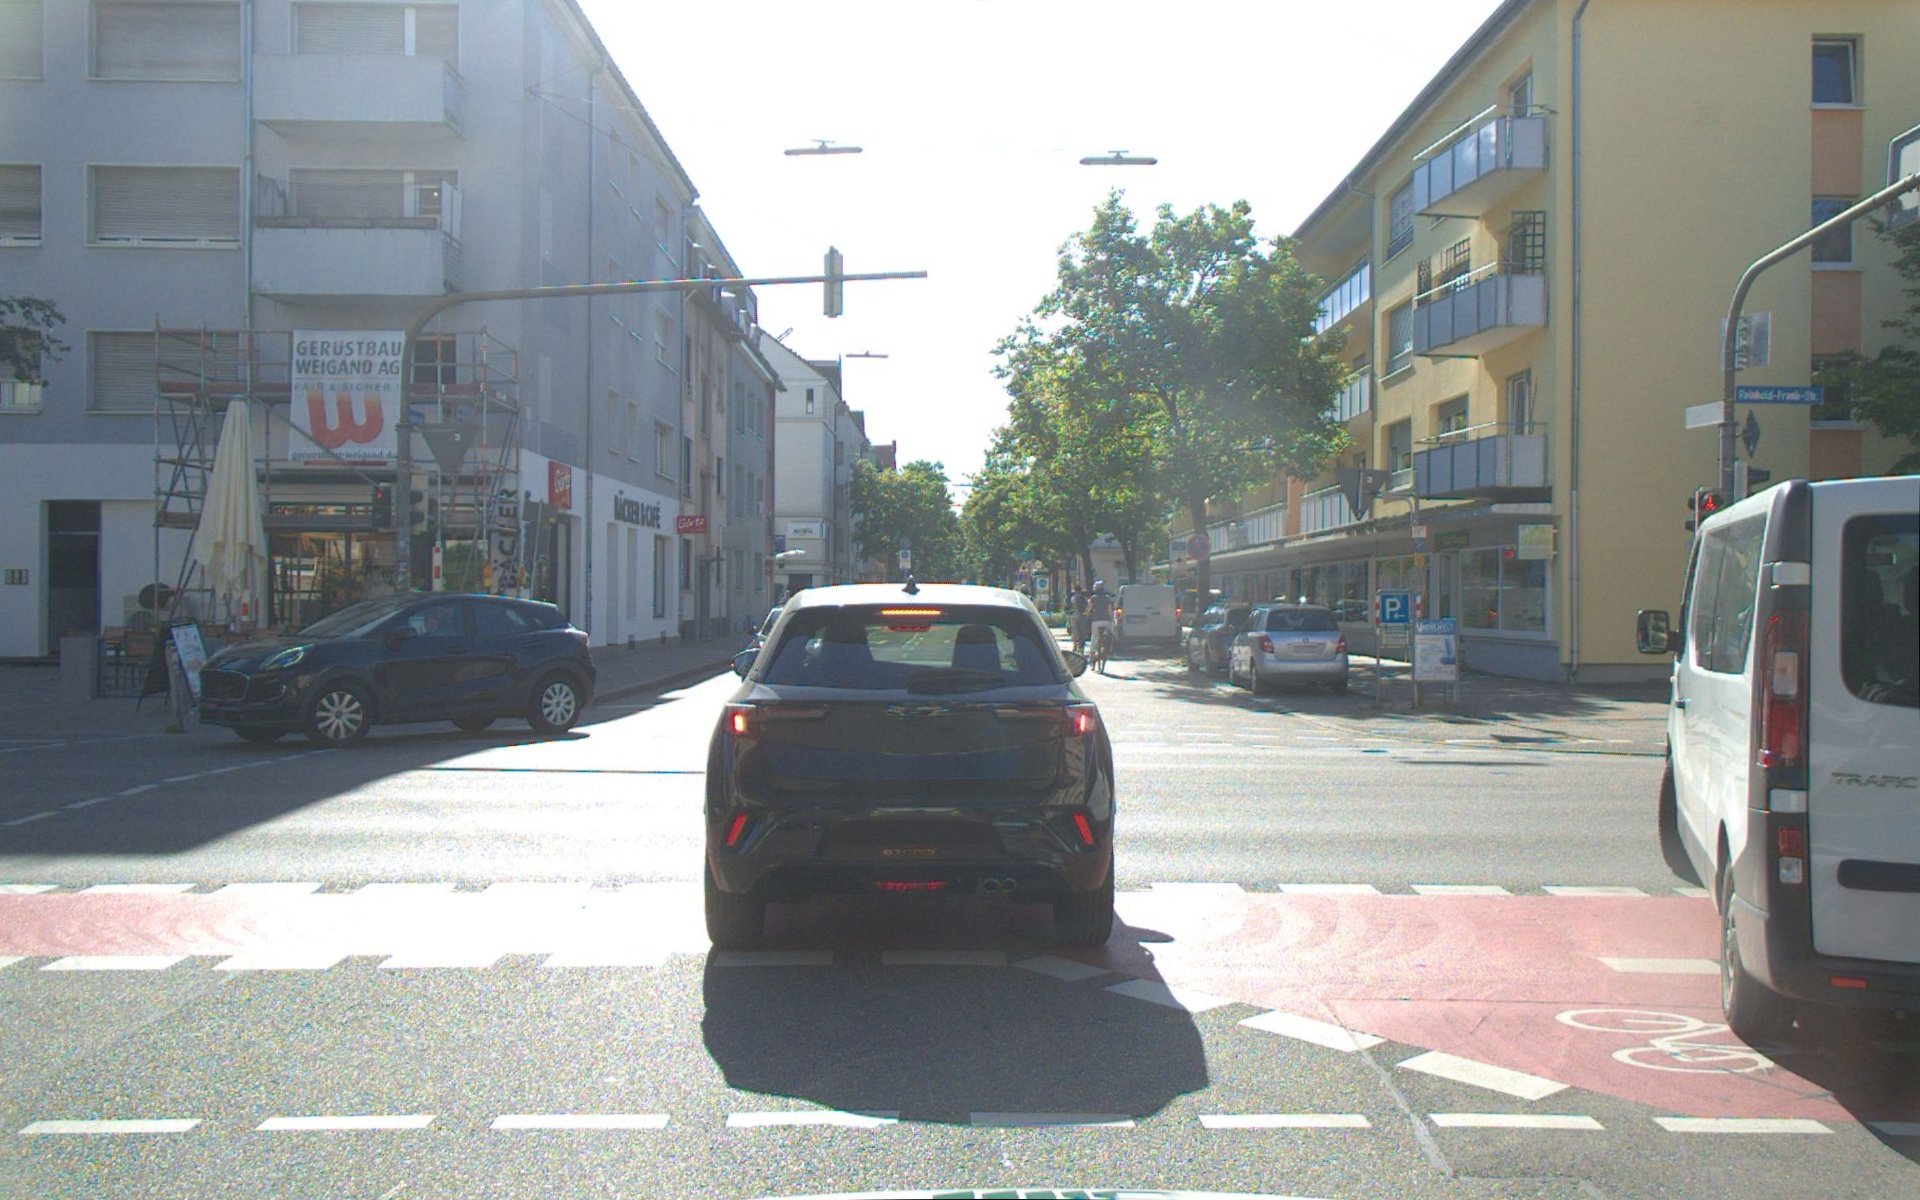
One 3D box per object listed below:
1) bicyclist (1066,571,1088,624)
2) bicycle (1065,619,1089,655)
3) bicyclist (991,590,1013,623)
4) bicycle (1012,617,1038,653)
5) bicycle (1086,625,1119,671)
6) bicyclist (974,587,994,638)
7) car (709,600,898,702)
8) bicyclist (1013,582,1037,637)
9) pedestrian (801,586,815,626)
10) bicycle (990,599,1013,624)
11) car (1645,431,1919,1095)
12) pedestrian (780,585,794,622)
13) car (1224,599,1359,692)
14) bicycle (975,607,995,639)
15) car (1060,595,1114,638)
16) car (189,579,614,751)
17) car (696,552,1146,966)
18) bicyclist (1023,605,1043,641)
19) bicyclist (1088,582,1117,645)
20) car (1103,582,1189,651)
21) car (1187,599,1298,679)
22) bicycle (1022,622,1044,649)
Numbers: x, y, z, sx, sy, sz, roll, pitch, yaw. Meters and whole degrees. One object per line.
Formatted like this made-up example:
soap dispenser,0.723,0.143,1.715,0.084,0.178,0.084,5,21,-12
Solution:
bicyclist,3.098,-0.074,44.009,0.535,1.406,0.823,0,0,1
bicycle,3.114,0.978,44.093,0.535,0.881,1.876,0,0,1
bicyclist,1.750,0.270,68.803,0.839,1.337,1.210,2,0,-1
bicycle,1.641,0.878,42.094,0.607,0.881,1.876,0,0,1
bicycle,2.945,0.981,34.262,0.535,0.881,1.876,0,0,1
bicyclist,0.799,0.428,55.600,0.619,1.698,1.050,0,0,-1
car,-2.423,0.768,26.834,1.766,1.437,4.430,-1,0,12
bicyclist,1.647,0.236,42.154,0.576,1.406,0.823,0,0,1
pedestrian,-6.290,0.243,68.305,0.566,1.610,0.707,0,0,-6
bicycle,1.738,0.478,68.987,0.839,0.961,2.307,2,0,-1
car,4.210,0.526,7.134,1.927,1.974,5.057,2,0,19
pedestrian,-7.143,0.136,68.254,0.566,1.493,0.702,0,0,-6
car,5.764,0.754,29.084,1.677,1.509,3.480,0,0,0
bicycle,0.838,0.765,55.769,0.619,1.059,1.795,0,0,-1
car,4.568,0.576,59.791,1.677,1.509,3.381,0,0,0
car,-5.732,0.604,17.405,1.566,1.593,4.071,-1,-1,38
car,-0.166,0.617,8.377,1.726,1.586,3.999,0,0,-1
bicyclist,2.507,0.801,57.033,0.677,1.214,0.595,0,0,1
bicyclist,2.943,0.266,34.148,0.535,1.284,0.803,0,0,1
car,5.296,0.428,47.636,2.004,1.879,4.584,0,0,1
car,5.671,0.744,33.505,1.677,1.509,3.381,0,0,0
bicycle,2.502,1.219,56.854,0.677,0.881,1.876,0,0,1
